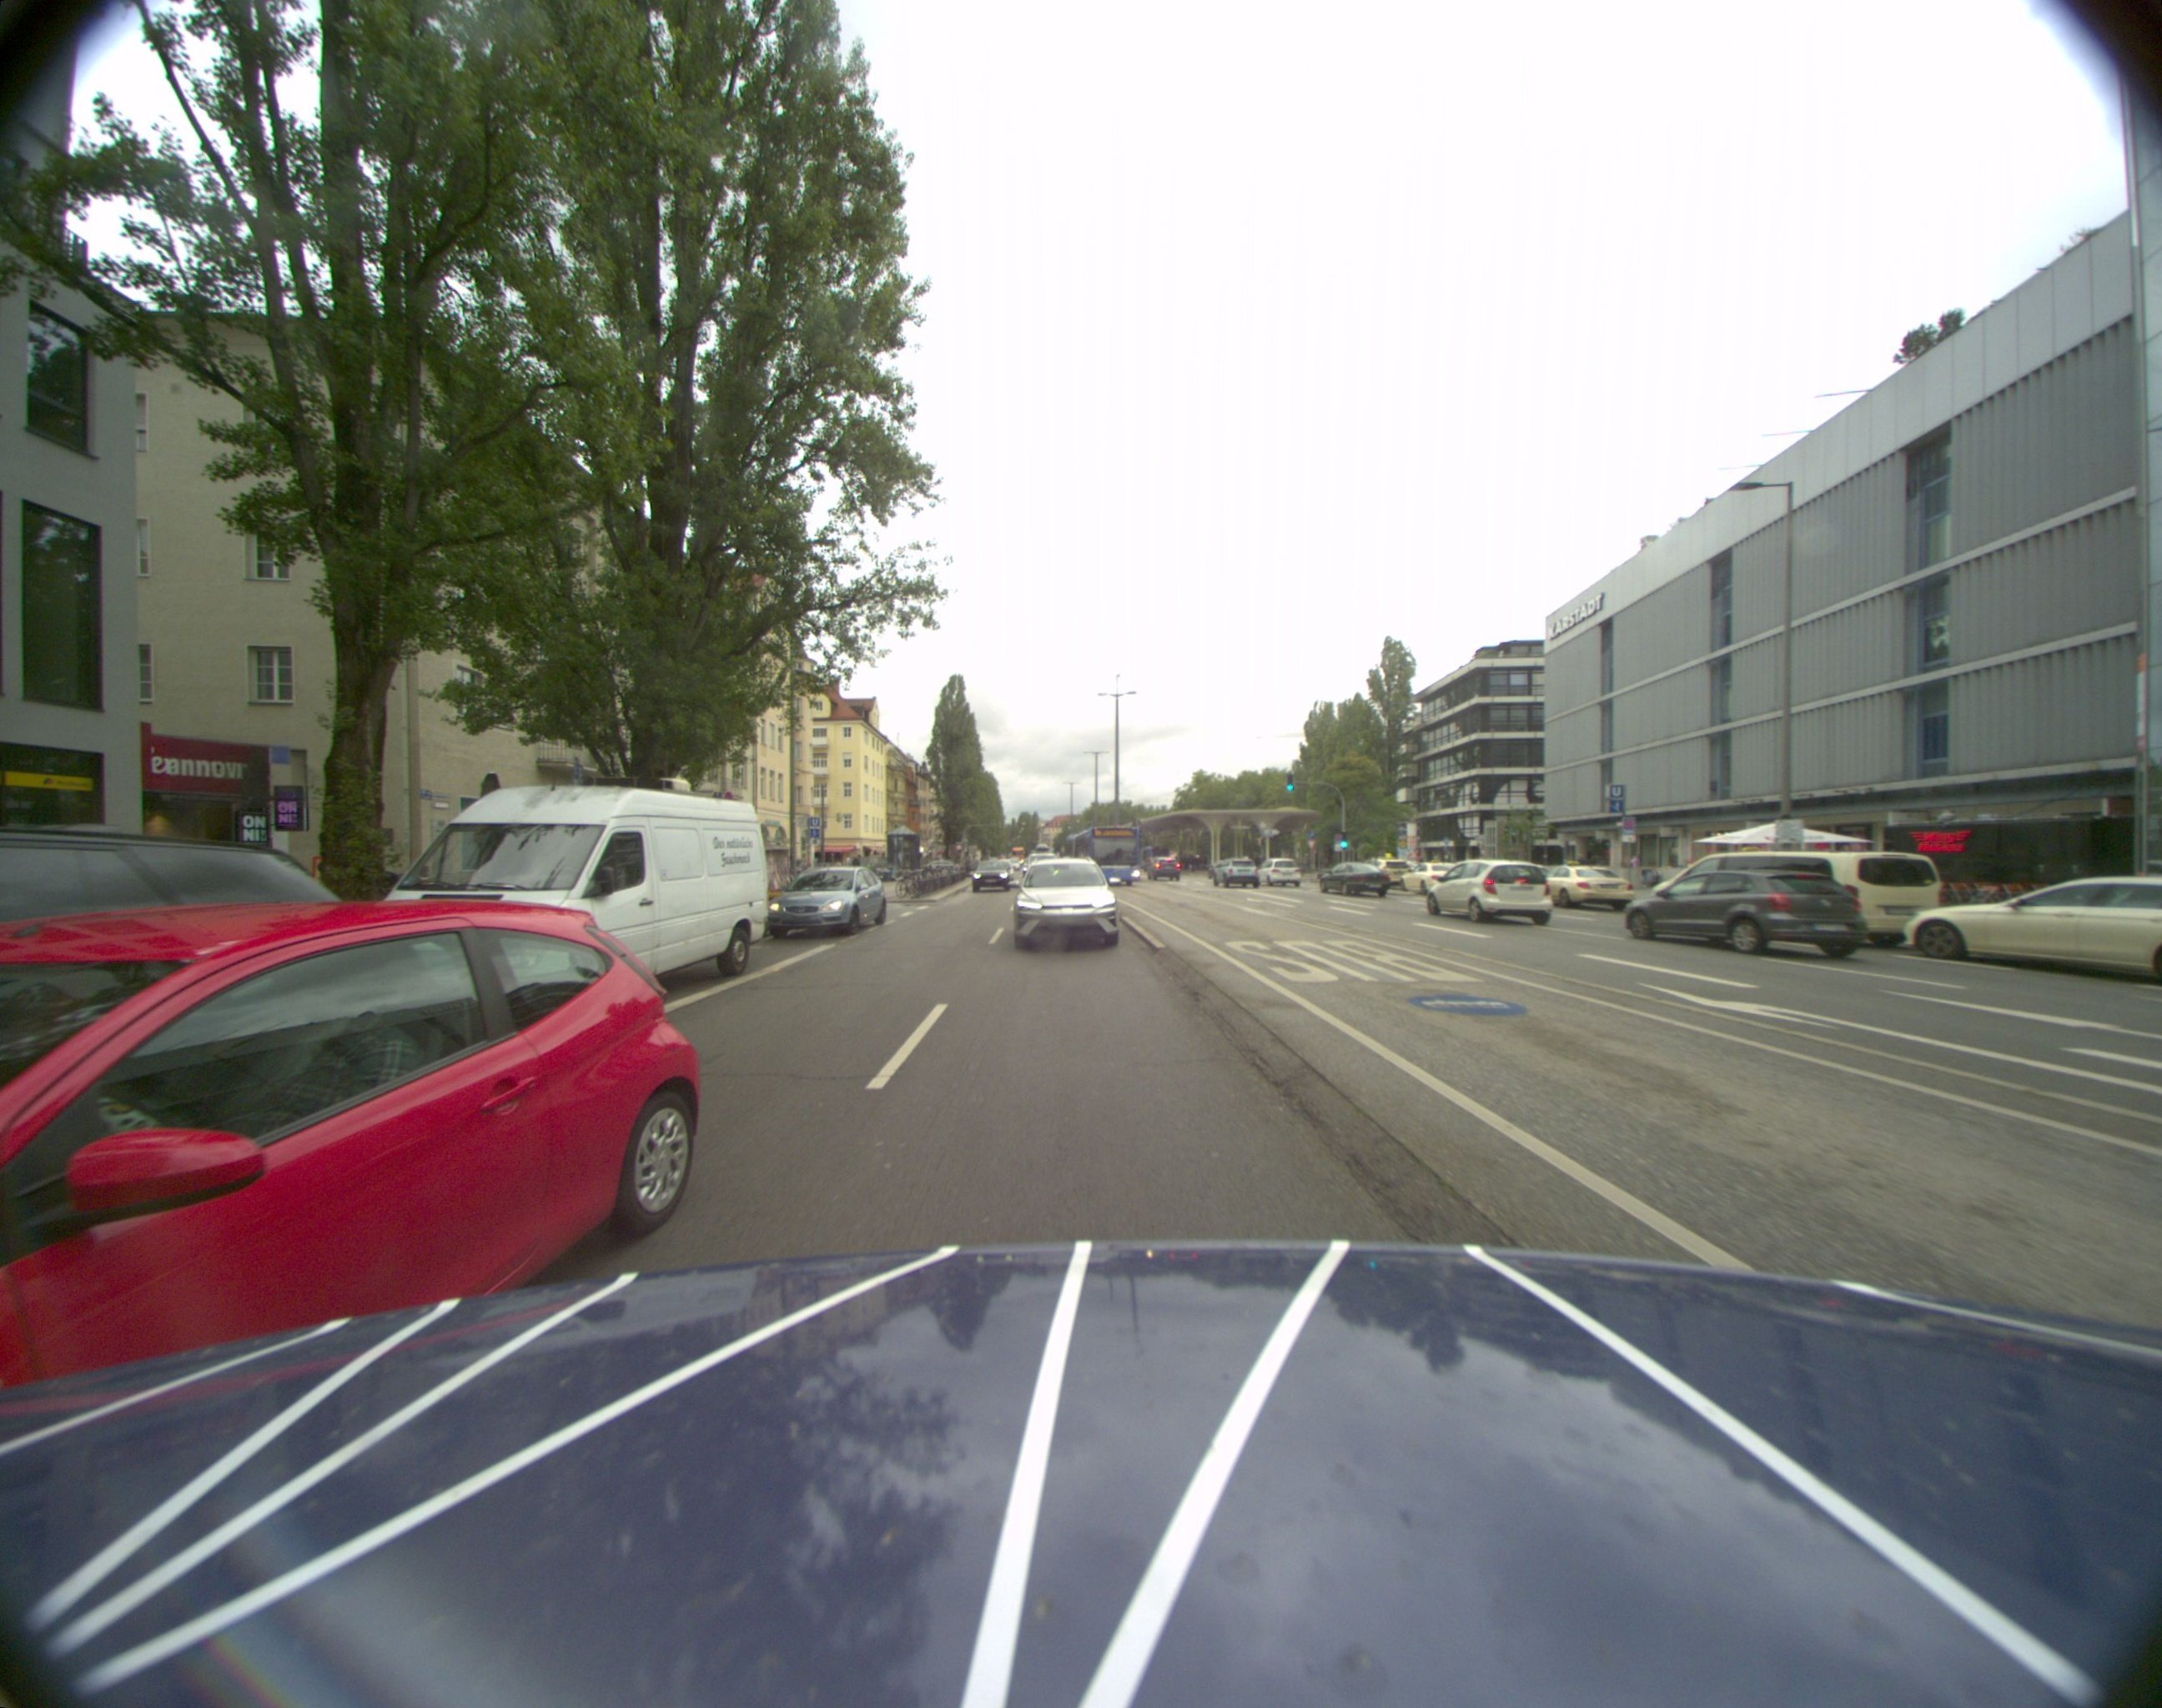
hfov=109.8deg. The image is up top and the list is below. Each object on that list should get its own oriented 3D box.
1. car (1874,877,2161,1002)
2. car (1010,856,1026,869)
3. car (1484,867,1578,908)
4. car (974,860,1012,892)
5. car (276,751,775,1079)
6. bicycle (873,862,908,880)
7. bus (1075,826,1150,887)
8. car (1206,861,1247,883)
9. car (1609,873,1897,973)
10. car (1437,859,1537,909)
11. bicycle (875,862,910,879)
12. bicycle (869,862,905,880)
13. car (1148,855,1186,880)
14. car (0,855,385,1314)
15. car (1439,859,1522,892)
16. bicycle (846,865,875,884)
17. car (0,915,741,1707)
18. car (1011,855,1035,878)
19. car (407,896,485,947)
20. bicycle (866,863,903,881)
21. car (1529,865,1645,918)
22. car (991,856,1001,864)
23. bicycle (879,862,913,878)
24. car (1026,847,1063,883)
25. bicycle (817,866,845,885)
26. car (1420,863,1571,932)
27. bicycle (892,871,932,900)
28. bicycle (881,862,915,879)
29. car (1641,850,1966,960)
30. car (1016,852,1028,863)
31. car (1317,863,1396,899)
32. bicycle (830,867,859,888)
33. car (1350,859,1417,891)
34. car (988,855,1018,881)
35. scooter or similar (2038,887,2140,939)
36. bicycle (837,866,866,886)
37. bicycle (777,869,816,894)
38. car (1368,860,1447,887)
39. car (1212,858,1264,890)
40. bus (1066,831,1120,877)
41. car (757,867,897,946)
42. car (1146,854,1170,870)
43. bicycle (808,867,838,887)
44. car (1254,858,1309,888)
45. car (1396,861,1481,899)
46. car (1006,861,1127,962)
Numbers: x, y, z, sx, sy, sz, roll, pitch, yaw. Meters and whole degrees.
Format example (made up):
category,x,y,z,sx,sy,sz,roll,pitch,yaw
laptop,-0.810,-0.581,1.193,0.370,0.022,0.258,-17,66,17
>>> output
category,x,y,z,sx,sy,sz,roll,pitch,yaw
car,15.224,1.191,11.076,1.982,1.543,5.085,0,0,0
car,-8.182,1.132,99.071,2.000,1.630,3.998,0,0,-6
car,18.331,1.320,31.169,1.756,1.527,4.001,0,0,4
car,-4.300,1.025,37.625,1.741,1.461,4.048,-1,0,-6
car,-5.781,0.486,9.189,1.999,2.726,5.553,-1,1,-2
bicycle,-13.430,1.191,53.647,2.318,1.220,0.628,0,0,-1
bus,1.490,0.069,42.329,2.942,2.927,11.208,-1,1,-4
car,11.280,1.363,59.168,1.965,1.537,4.946,1,0,-3
car,12.046,1.148,14.049,1.788,1.457,4.000,1,0,0
car,15.302,1.064,28.925,1.889,1.688,4.385,2,0,7
bicycle,-13.534,1.184,54.578,2.343,1.220,0.628,0,0,-1
bicycle,-13.528,1.201,52.924,2.343,1.220,0.628,0,0,-1
car,5.983,0.926,53.271,1.999,1.611,4.412,1,0,-2
car,-5.234,0.929,2.201,1.934,1.794,4.780,-1,0,1
car,19.600,1.021,37.462,1.912,1.557,3.999,0,0,-2
bicycle,-12.672,1.189,43.618,1.529,1.071,0.410,1,1,-5
car,-2.546,1.045,1.802,1.669,1.438,3.596,-1,1,3
car,-4.803,0.976,63.470,1.873,1.760,4.234,-1,1,-3
car,-12.608,1.319,15.126,0.368,0.899,1.496,1,0,-3
bicycle,-13.533,1.208,52.244,2.368,1.220,0.628,0,0,-1
car,17.455,1.233,26.450,1.775,1.607,4.002,1,0,8
car,-18.042,1.219,161.931,1.999,1.630,3.999,0,0,-4
bicycle,-13.573,1.173,55.706,2.331,1.220,0.628,0,0,-1
car,-2.131,0.585,43.881,1.999,1.889,4.234,-1,1,-3
bicycle,-14.263,1.230,43.357,1.453,1.071,0.410,1,1,-12
car,10.751,1.056,20.092,1.958,1.580,4.001,0,0,3
bicycle,-6.675,1.242,29.993,1.572,1.048,0.548,-4,-1,34
bicycle,-13.598,1.201,56.462,2.318,1.220,0.628,0,0,-1
car,15.333,0.940,16.727,1.999,2.002,5.321,1,0,-1
car,-9.480,0.545,121.756,1.859,1.696,3.998,1,0,-4
car,11.871,1.127,33.082,1.733,1.400,4.688,0,0,0
bicycle,-12.472,1.222,40.070,1.454,1.071,0.409,1,1,-16
car,16.233,1.098,41.032,1.591,1.602,4.475,0,0,-4
car,-5.660,0.975,55.469,1.999,1.740,3.998,-1,1,-3
scooter or similar,23.613,1.359,17.830,0.368,1.133,1.379,0,0,-23
bicycle,-12.454,1.209,41.271,1.453,1.071,0.410,1,1,-12
bicycle,-13.347,1.290,35.642,1.633,1.097,0.410,1,1,1
car,18.919,1.101,44.261,1.861,1.502,4.292,0,0,-18
car,8.384,1.024,40.921,1.822,1.536,3.999,2,0,-2
bus,0.660,-0.028,54.195,2.942,2.927,11.208,-1,1,-4
car,-5.620,1.096,17.383,1.729,1.445,4.147,-2,0,1
car,8.594,0.902,85.585,1.999,1.767,4.597,0,0,-3
bicycle,-13.893,1.247,40.953,1.453,1.071,0.410,1,1,-12
car,11.490,1.073,43.859,1.999,1.591,4.289,0,0,-1
car,15.940,1.101,34.178,1.950,1.531,4.850,0,0,6
car,-0.325,0.939,14.180,1.896,1.483,3.998,-1,1,-3
